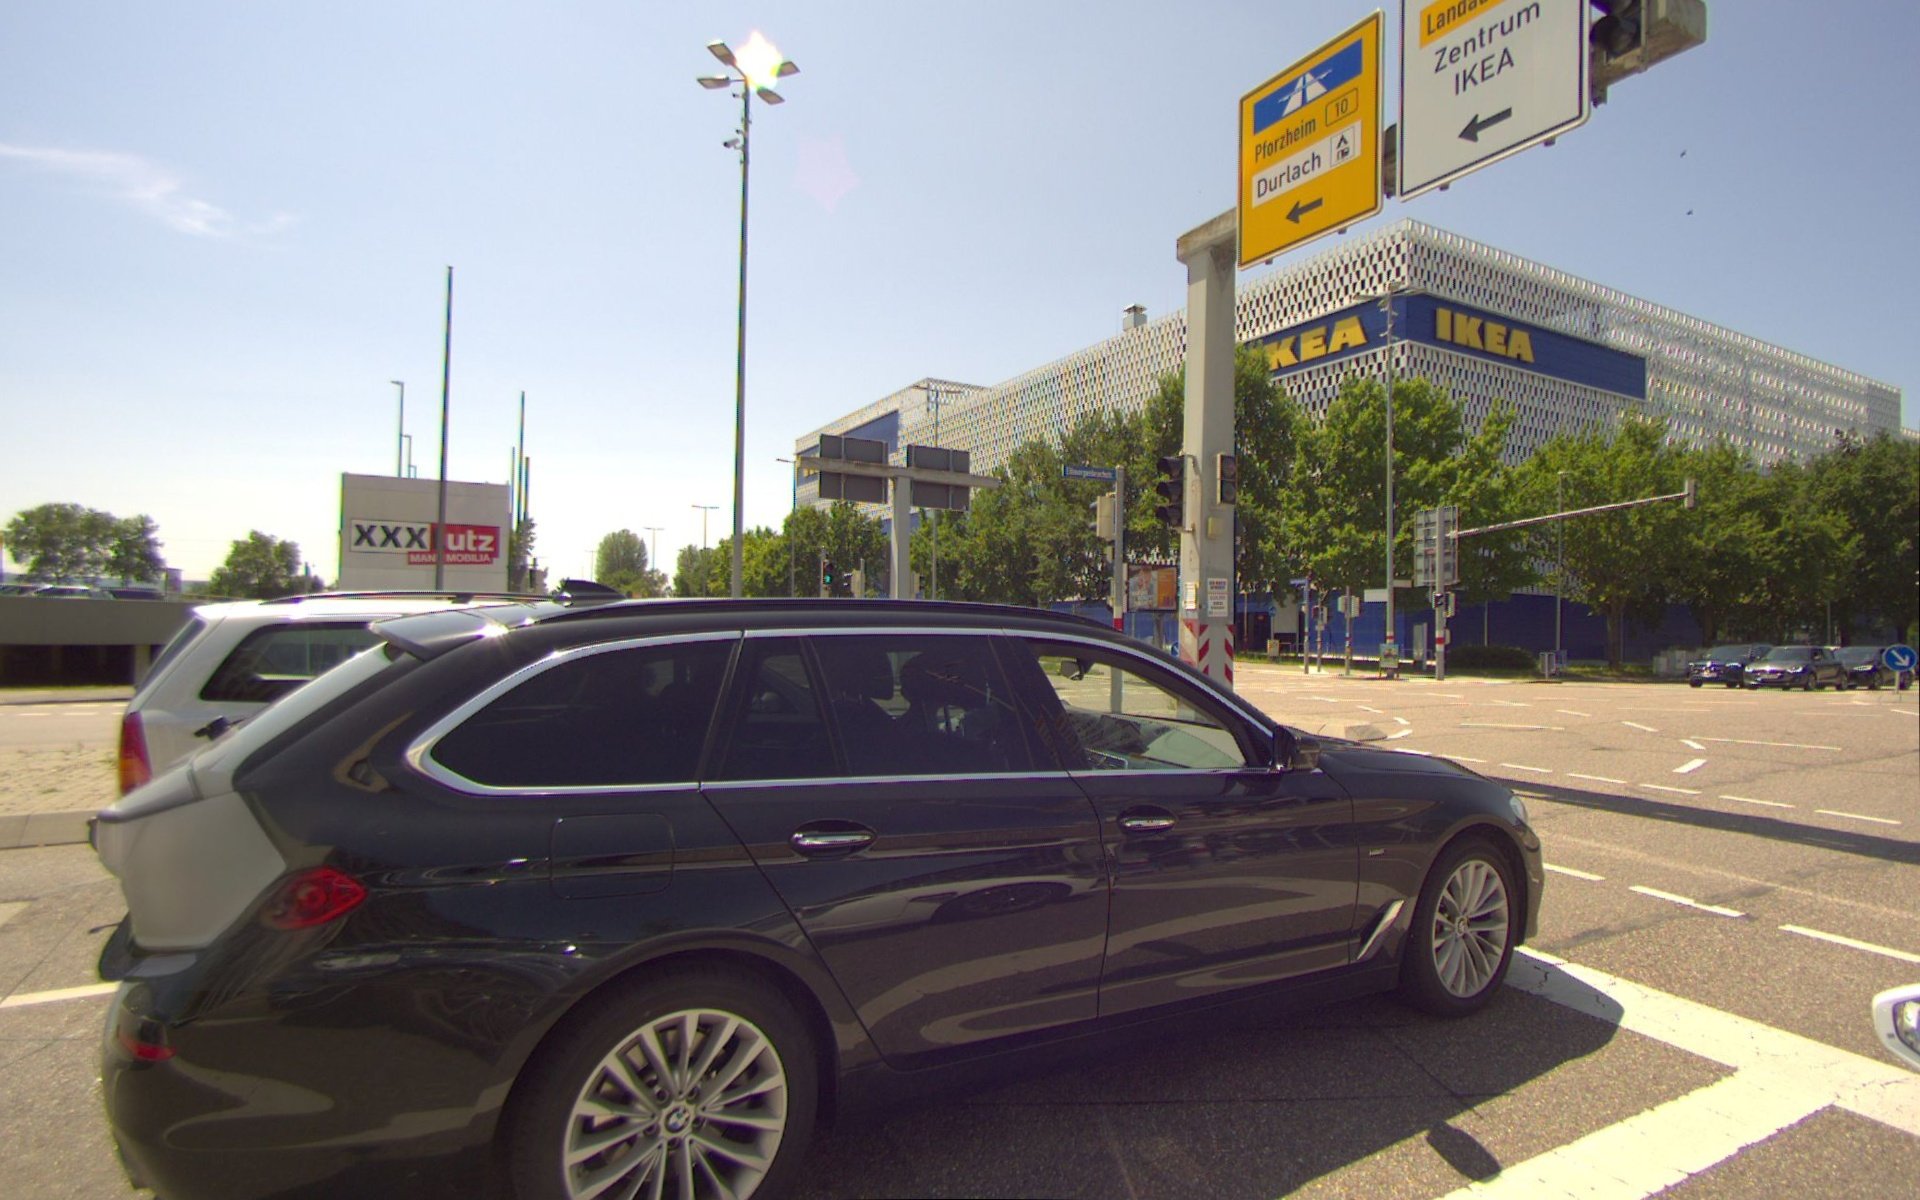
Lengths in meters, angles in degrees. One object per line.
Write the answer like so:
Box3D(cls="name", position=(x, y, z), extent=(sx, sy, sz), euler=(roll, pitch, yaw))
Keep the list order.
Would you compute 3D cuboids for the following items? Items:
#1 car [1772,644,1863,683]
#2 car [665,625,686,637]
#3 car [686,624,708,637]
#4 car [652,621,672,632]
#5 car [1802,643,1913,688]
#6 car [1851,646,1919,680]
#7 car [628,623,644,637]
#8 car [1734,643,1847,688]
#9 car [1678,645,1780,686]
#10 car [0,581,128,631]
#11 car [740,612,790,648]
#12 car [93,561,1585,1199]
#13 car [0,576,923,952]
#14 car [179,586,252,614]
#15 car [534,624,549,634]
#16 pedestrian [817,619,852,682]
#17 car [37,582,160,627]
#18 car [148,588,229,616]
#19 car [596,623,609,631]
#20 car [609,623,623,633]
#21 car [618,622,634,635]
Box3D(cls="car", position=(35.641, 2.647, 41.734), extent=(3.870, 1.564, 1.718), euler=(3, -3, -31))
Box3D(cls="car", position=(-38.724, 4.249, 136.579), extent=(1.975, 1.572, 3.972), euler=(2, -2, -27))
Box3D(cls="car", position=(-36.365, 4.210, 139.076), extent=(2.031, 1.769, 3.860), euler=(2, -2, -29))
Box3D(cls="car", position=(-42.881, 3.819, 144.468), extent=(1.976, 1.572, 3.970), euler=(2, -2, -29))
Box3D(cls="car", position=(32.367, 2.373, 36.207), extent=(4.193, 1.524, 1.719), euler=(3, -4, -30))
Box3D(cls="car", position=(42.615, 2.882, 45.960), extent=(3.870, 1.505, 1.642), euler=(3, -3, -31))
Box3D(cls="car", position=(-46.361, 4.292, 143.614), extent=(1.607, 1.835, 3.474), euler=(1, -2, -27))
Box3D(cls="car", position=(27.194, 2.167, 32.891), extent=(3.671, 1.407, 1.637), euler=(3, -4, -30))
Box3D(cls="car", position=(28.712, 2.449, 37.504), extent=(3.992, 1.442, 1.653), euler=(3, -3, -31))
Box3D(cls="car", position=(-39.609, 0.288, 44.223), extent=(4.284, 2.040, 1.982), euler=(2, -2, -34))
Box3D(cls="car", position=(-12.418, 1.898, 63.631), extent=(1.973, 2.212, 5.019), euler=(1, -2, -25))
Box3D(cls="car", position=(0.089, 0.737, 3.555), extent=(4.505, 1.459, 1.788), euler=(2, -1, -31))
Box3D(cls="car", position=(-2.351, 0.658, 5.547), extent=(3.959, 1.441, 1.685), euler=(1, 0, -29))
Box3D(cls="car", position=(-58.028, 0.016, 78.427), extent=(4.278, 2.040, 1.985), euler=(2, -2, -30))
Box3D(cls="car", position=(-67.759, 4.660, 162.572), extent=(1.836, 1.528, 3.971), euler=(2, -2, -28))
Box3D(cls="pedestrian", position=(-3.650, 1.464, 29.162), extent=(0.816, 1.807, 0.601), euler=(2, -2, -27))
Box3D(cls="car", position=(-42.090, 0.266, 49.230), extent=(4.285, 2.040, 1.981), euler=(2, -2, -34))
Box3D(cls="car", position=(-52.615, 0.147, 68.577), extent=(4.086, 1.764, 1.770), euler=(2, -2, -30))
Box3D(cls="car", position=(-60.619, 4.551, 170.300), extent=(1.608, 1.368, 3.472), euler=(2, -2, -29))
Box3D(cls="car", position=(-55.382, 4.547, 161.750), extent=(1.608, 1.629, 3.471), euler=(2, -2, -29))
Box3D(cls="car", position=(-49.542, 4.212, 149.067), extent=(1.609, 1.938, 3.471), euler=(2, -2, -30))
